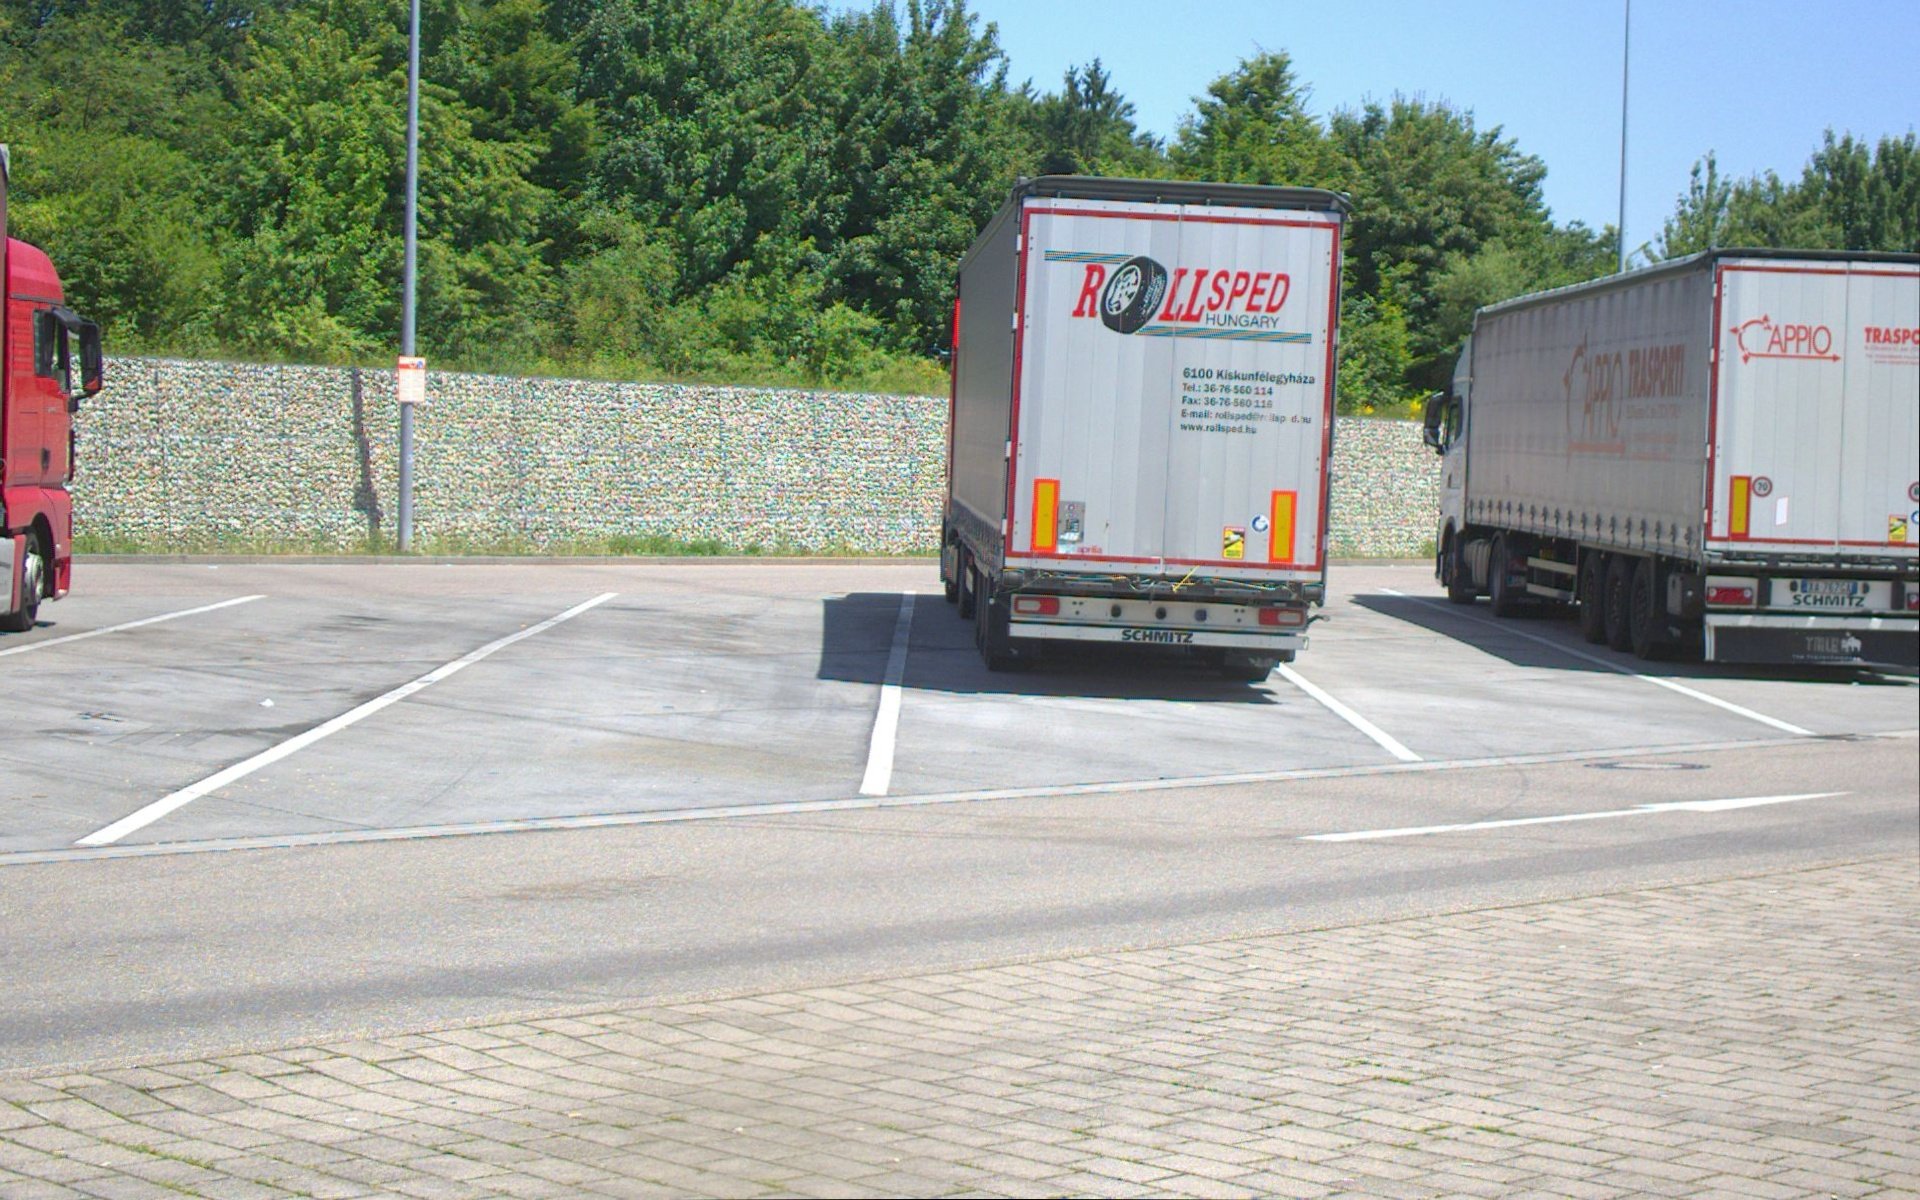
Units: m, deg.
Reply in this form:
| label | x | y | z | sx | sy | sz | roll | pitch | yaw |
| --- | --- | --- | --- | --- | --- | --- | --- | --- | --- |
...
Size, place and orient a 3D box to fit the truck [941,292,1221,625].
| label | x | y | z | sx | sy | sz | roll | pitch | yaw |
| --- | --- | --- | --- | --- | --- | --- | --- | --- | --- |
| truck | 1.284 | -1.642 | 39.798 | 2.852 | 3.472 | 5.483 | 2 | 2 | -1 |

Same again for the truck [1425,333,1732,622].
| label | x | y | z | sx | sy | sz | roll | pitch | yaw |
| --- | --- | --- | --- | --- | --- | --- | --- | --- | --- |
| truck | 8.057 | -1.640 | 45.488 | 2.852 | 3.472 | 5.483 | 2 | 2 | -1 |

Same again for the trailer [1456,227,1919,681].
| label | x | y | z | sx | sy | sz | roll | pitch | yaw |
| --- | --- | --- | --- | --- | --- | --- | --- | --- | --- |
| trailer | 8.150 | -1.640 | 38.675 | 2.838 | 4.118 | 13.724 | 2 | 3 | -1 |

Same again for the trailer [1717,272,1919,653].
| label | x | y | z | sx | sy | sz | roll | pitch | yaw |
| --- | --- | --- | --- | --- | --- | --- | --- | --- | --- |
| trailer | 11.787 | -1.543 | 39.427 | 2.838 | 4.118 | 13.724 | 2 | 3 | -1 |

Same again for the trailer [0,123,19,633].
| label | x | y | z | sx | sy | sz | roll | pitch | yaw |
| --- | --- | --- | --- | --- | --- | --- | --- | --- | --- |
| trailer | -9.153 | -1.496 | 21.289 | 2.906 | 4.118 | 13.725 | 2 | 3 | -1 |

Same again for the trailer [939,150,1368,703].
| label | x | y | z | sx | sy | sz | roll | pitch | yaw |
| --- | --- | --- | --- | --- | --- | --- | --- | --- | --- |
| trailer | 1.433 | -1.633 | 33.185 | 2.906 | 4.118 | 13.725 | 2 | 3 | -1 |

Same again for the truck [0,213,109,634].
| label | x | y | z | sx | sy | sz | roll | pitch | yaw |
| --- | --- | --- | --- | --- | --- | --- | --- | --- | --- |
| truck | -9.243 | -1.514 | 28.727 | 2.852 | 3.416 | 5.483 | 2 | 2 | -1 |
